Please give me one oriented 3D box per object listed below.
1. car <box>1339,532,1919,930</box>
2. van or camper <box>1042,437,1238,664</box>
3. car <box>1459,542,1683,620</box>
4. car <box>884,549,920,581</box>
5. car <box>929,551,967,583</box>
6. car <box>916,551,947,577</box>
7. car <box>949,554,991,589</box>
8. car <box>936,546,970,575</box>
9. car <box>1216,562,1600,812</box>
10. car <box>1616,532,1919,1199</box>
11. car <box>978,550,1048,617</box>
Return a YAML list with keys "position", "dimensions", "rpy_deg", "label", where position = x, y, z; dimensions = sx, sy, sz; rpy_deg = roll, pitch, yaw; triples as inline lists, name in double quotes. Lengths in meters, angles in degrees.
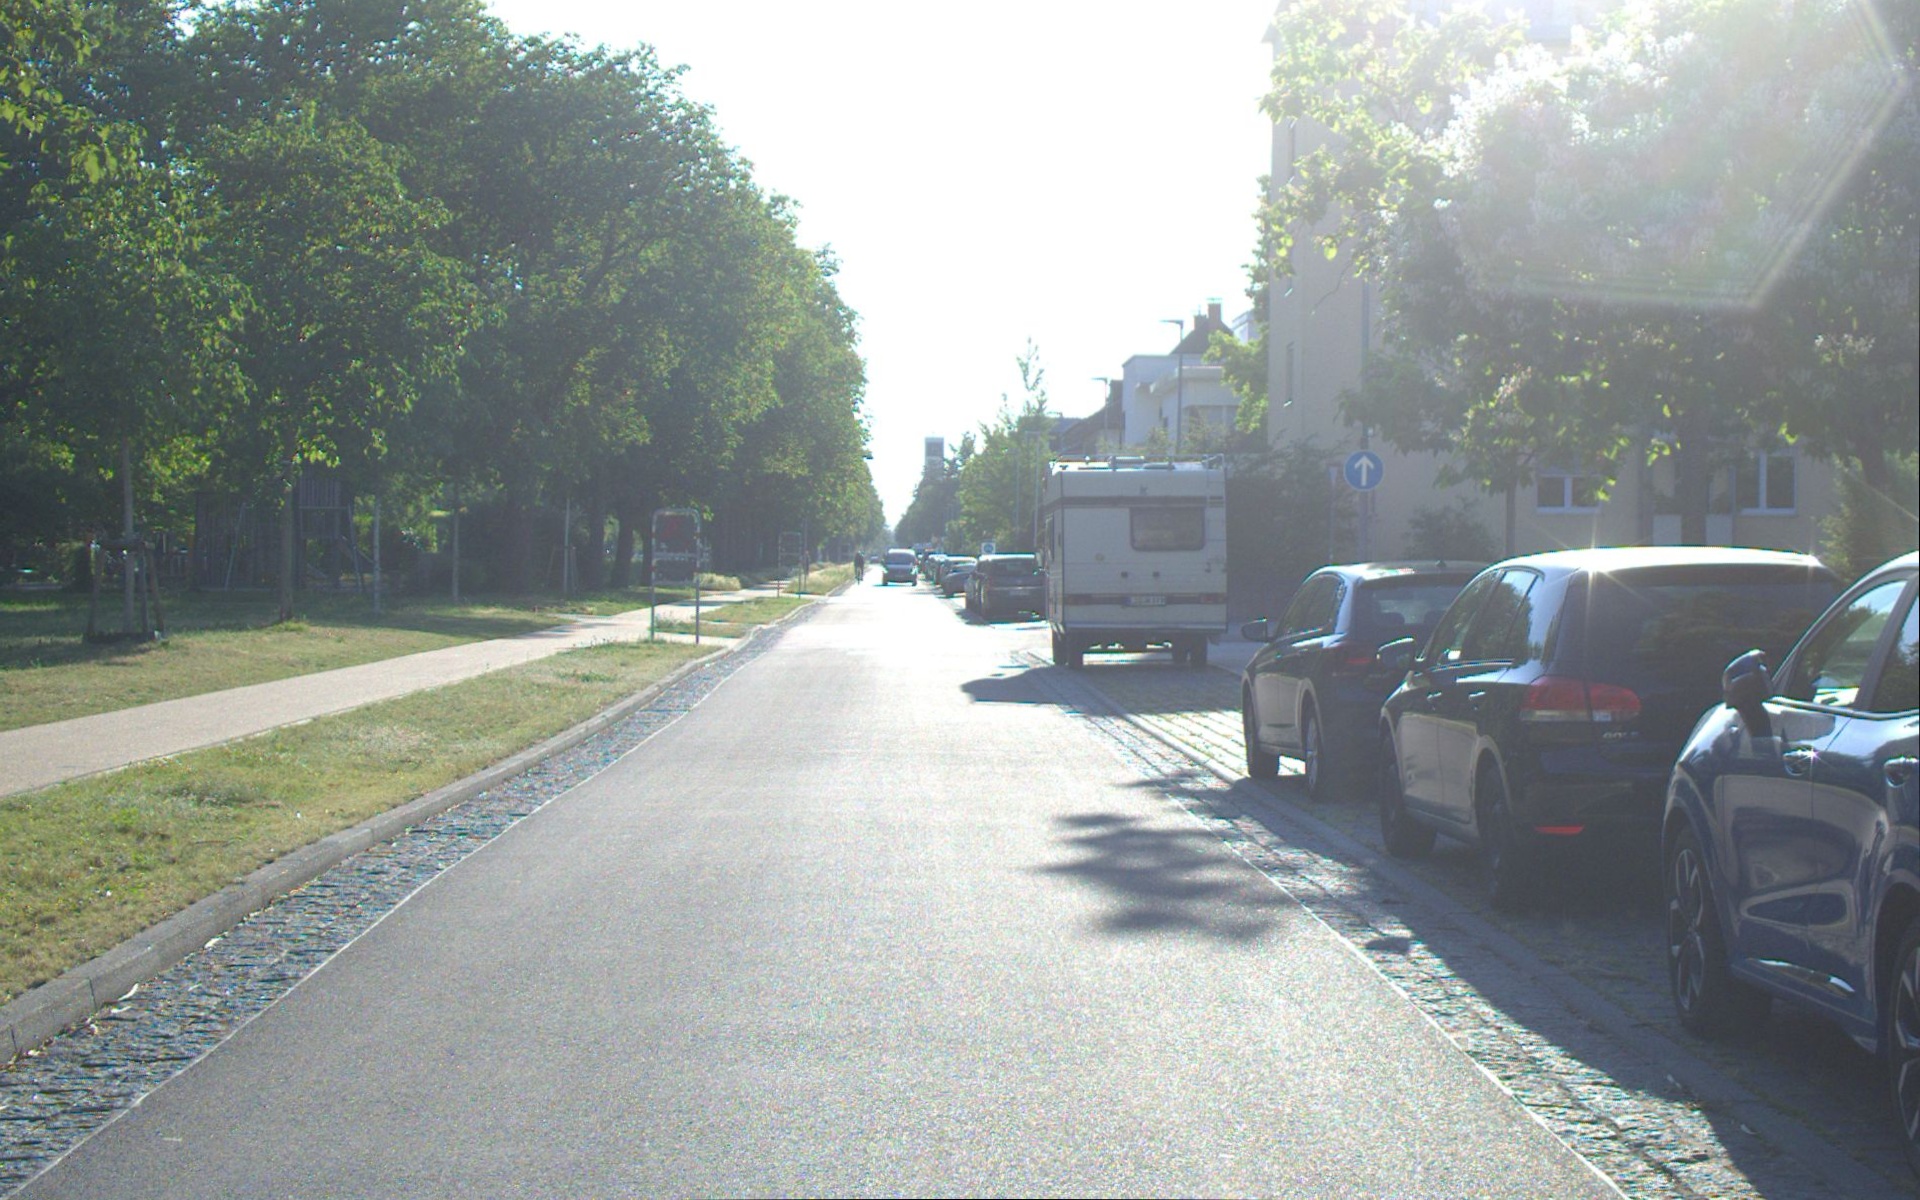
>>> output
- position: [2.912, 0.492, 15.583]
  dimensions: [1.731, 1.545, 4.423]
  rpy_deg: [0, 0, -2]
  label: "car"
- position: [2.371, -0.618, 46.891]
  dimensions: [2.234, 2.894, 5.673]
  rpy_deg: [0, 0, -1]
  label: "van or camper"
- position: [12.203, -0.380, 68.838]
  dimensions: [4.195, 1.525, 2.000]
  rpy_deg: [0, 0, 3]
  label: "car"
- position: [-3.013, -1.812, 177.846]
  dimensions: [1.825, 1.663, 4.249]
  rpy_deg: [0, 0, -1]
  label: "car"
- position: [-0.557, -1.455, 153.224]
  dimensions: [1.626, 1.405, 4.249]
  rpy_deg: [0, 0, -1]
  label: "car"
- position: [-1.558, -1.966, 189.278]
  dimensions: [1.626, 1.405, 4.249]
  rpy_deg: [0, 0, -1]
  label: "car"
- position: [0.400, -1.177, 141.488]
  dimensions: [1.626, 1.405, 4.249]
  rpy_deg: [0, 0, -1]
  label: "car"
- position: [-0.353, -1.987, 172.567]
  dimensions: [1.626, 1.405, 4.249]
  rpy_deg: [0, 0, -1]
  label: "car"
- position: [2.775, 0.490, 22.166]
  dimensions: [1.626, 1.459, 4.250]
  rpy_deg: [0, 0, -4]
  label: "car"
- position: [3.058, 0.609, 9.332]
  dimensions: [1.731, 1.545, 4.275]
  rpy_deg: [0, 0, 0]
  label: "car"
- position: [1.331, -0.434, 88.165]
  dimensions: [1.626, 1.663, 4.249]
  rpy_deg: [0, 0, -1]
  label: "car"
